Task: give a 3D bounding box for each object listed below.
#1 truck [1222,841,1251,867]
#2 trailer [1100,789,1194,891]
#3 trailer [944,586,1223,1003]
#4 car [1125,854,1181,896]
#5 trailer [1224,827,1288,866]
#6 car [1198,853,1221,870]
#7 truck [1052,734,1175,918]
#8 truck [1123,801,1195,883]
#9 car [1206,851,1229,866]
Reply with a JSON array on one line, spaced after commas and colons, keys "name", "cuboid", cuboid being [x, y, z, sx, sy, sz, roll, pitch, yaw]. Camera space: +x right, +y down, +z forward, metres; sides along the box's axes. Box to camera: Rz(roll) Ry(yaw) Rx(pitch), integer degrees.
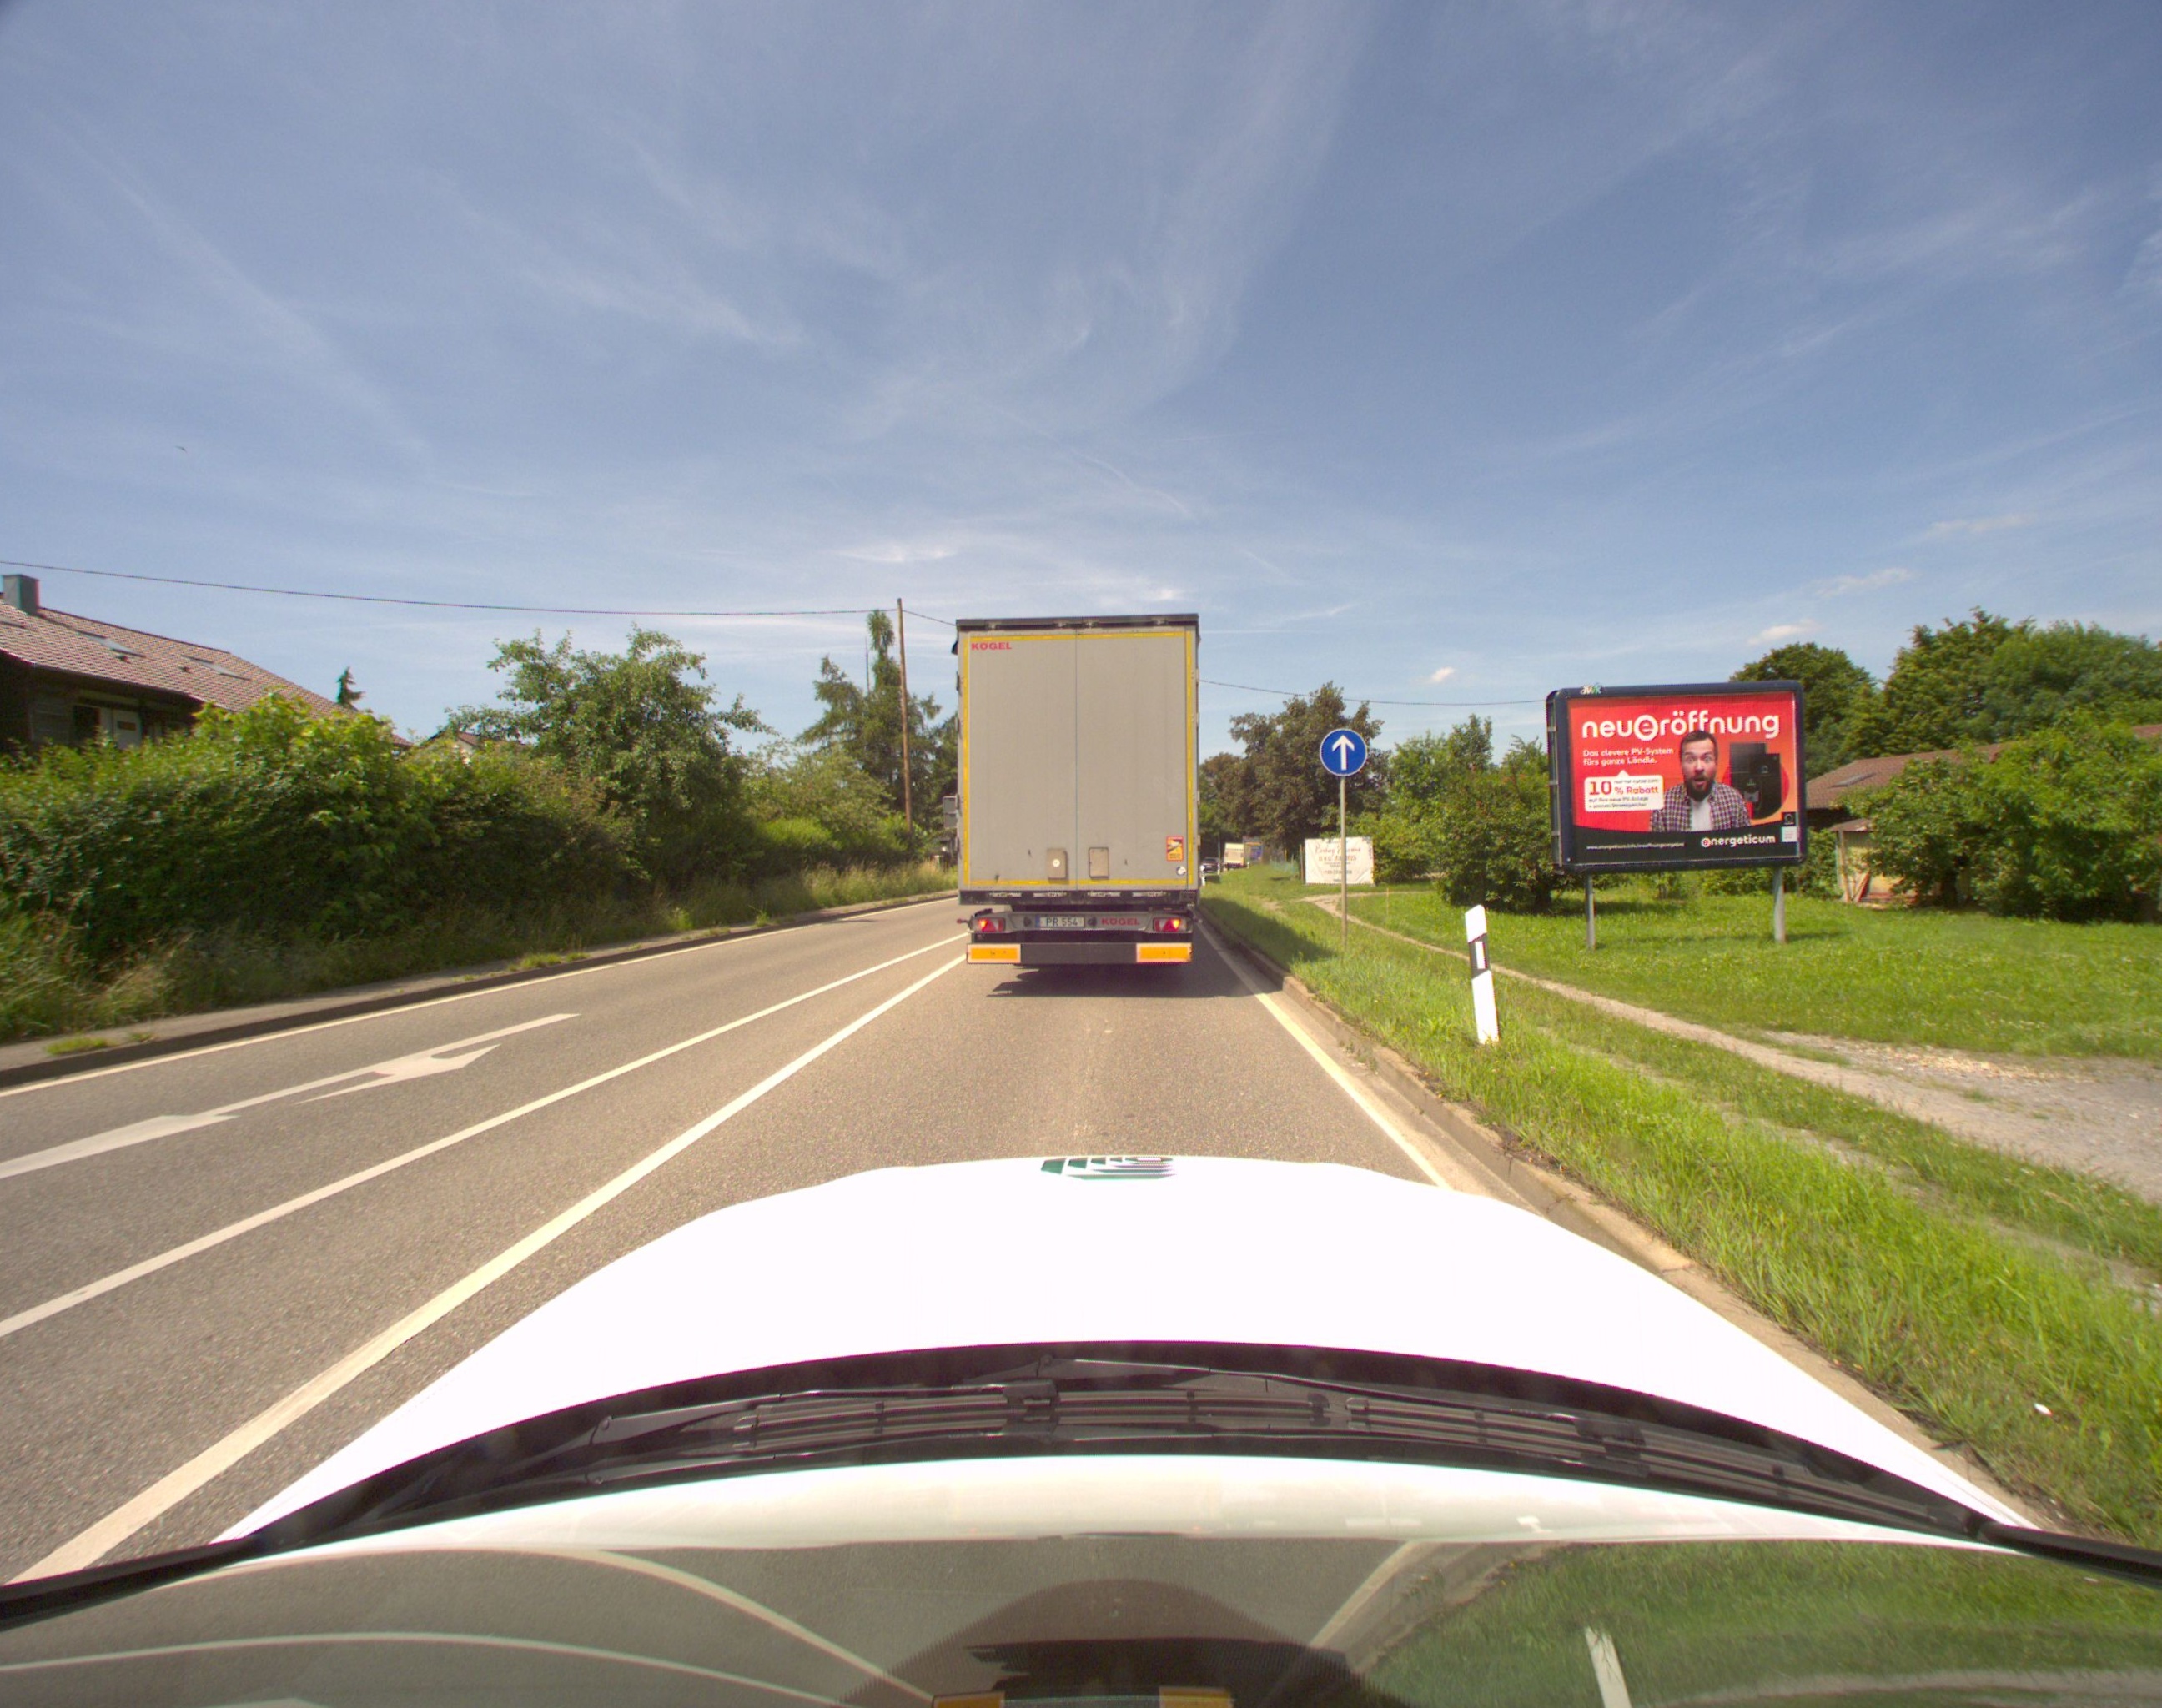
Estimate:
[{"name": "truck", "cuboid": [17.457, -0.042, 91.146, 2.401, 2.838, 5.438, -1, 0, 18]}, {"name": "trailer", "cuboid": [3.834, -0.623, 43.119, 3.868, 4.521, 12.746, -1, 0, 9]}, {"name": "trailer", "cuboid": [0.476, -0.647, 14.370, 2.774, 4.205, 12.126, -1, 0, 4]}, {"name": "car", "cuboid": [2.979, 0.818, 32.981, 1.982, 1.530, 4.010, -1, 0, 9]}, {"name": "trailer", "cuboid": [23.275, -1.014, 107.167, 5.133, 4.628, 15.984, -1, 0, 23]}, {"name": "car", "cuboid": [12.425, 0.717, 78.707, 1.828, 1.486, 4.015, -1, 0, 13]}, {"name": "truck", "cuboid": [1.081, -0.652, 21.605, 2.731, 4.165, 6.154, -1, 0, 6]}, {"name": "truck", "cuboid": [4.927, -0.671, 50.036, 3.914, 4.574, 7.170, -1, 0, 9]}, {"name": "car", "cuboid": [17.609, 0.513, 104.905, 1.976, 1.837, 4.021, -1, 0, 22]}]
